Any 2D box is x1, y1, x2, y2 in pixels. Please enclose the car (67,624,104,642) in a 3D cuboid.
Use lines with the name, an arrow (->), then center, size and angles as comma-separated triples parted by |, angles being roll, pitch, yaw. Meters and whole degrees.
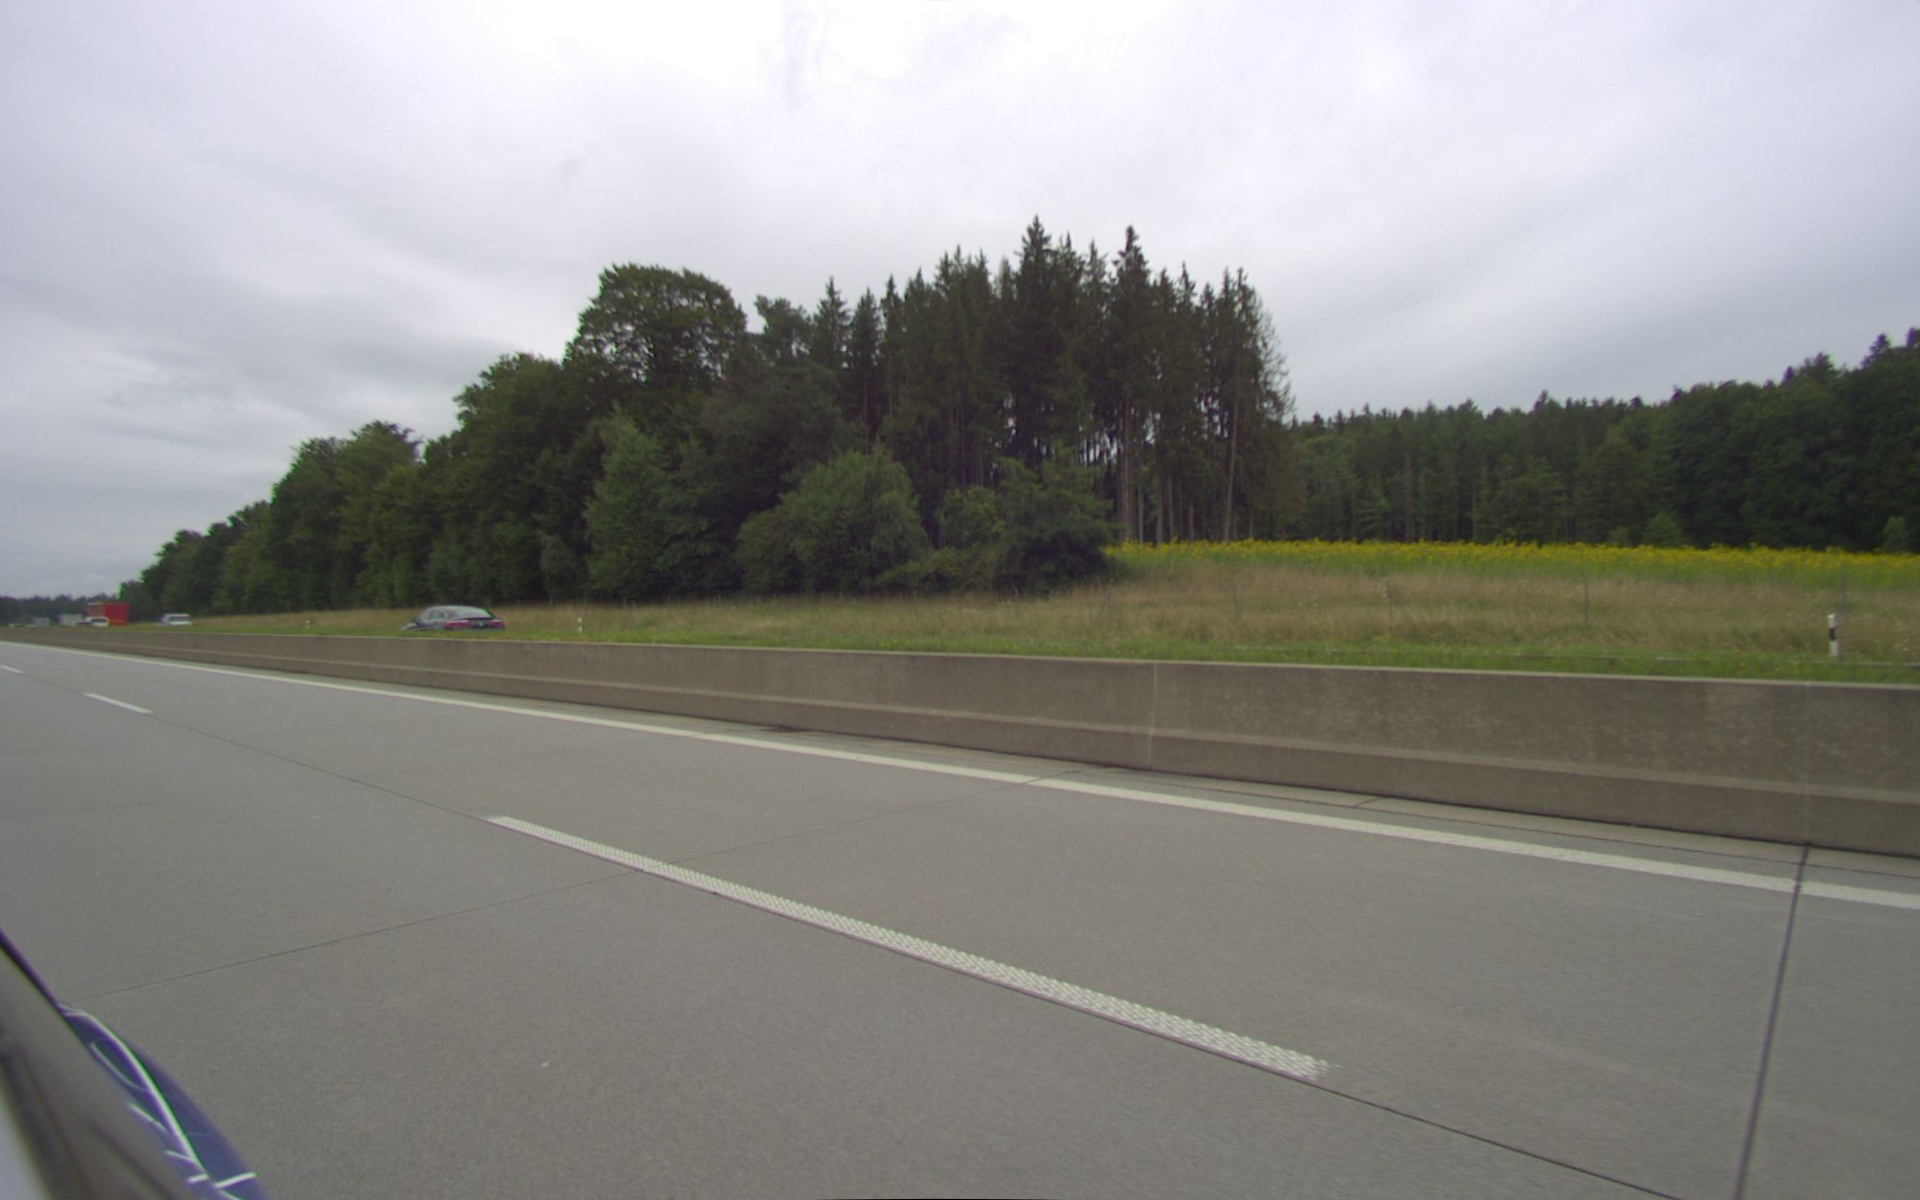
car -> -79.785, 3.008, 92.330 | 4.490, 1.477, 1.972 | -2, -1, 42

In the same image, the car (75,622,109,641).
car -> -95.025, 3.414, 110.763 | 5.623, 1.971, 1.973 | -2, -1, 41

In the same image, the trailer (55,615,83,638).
trailer -> -151.307, 4.571, 171.819 | 9.013, 3.728, 2.773 | -2, -1, 43

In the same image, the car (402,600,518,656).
car -> -15.703, 0.856, 31.696 | 3.998, 1.600, 1.865 | -1, 0, 41

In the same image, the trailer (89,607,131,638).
trailer -> -113.956, 3.107, 135.629 | 14.378, 3.974, 2.580 | -2, -1, 43

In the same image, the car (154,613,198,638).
car -> -61.123, 1.964, 78.891 | 4.390, 1.814, 1.972 | -1, 0, 42
